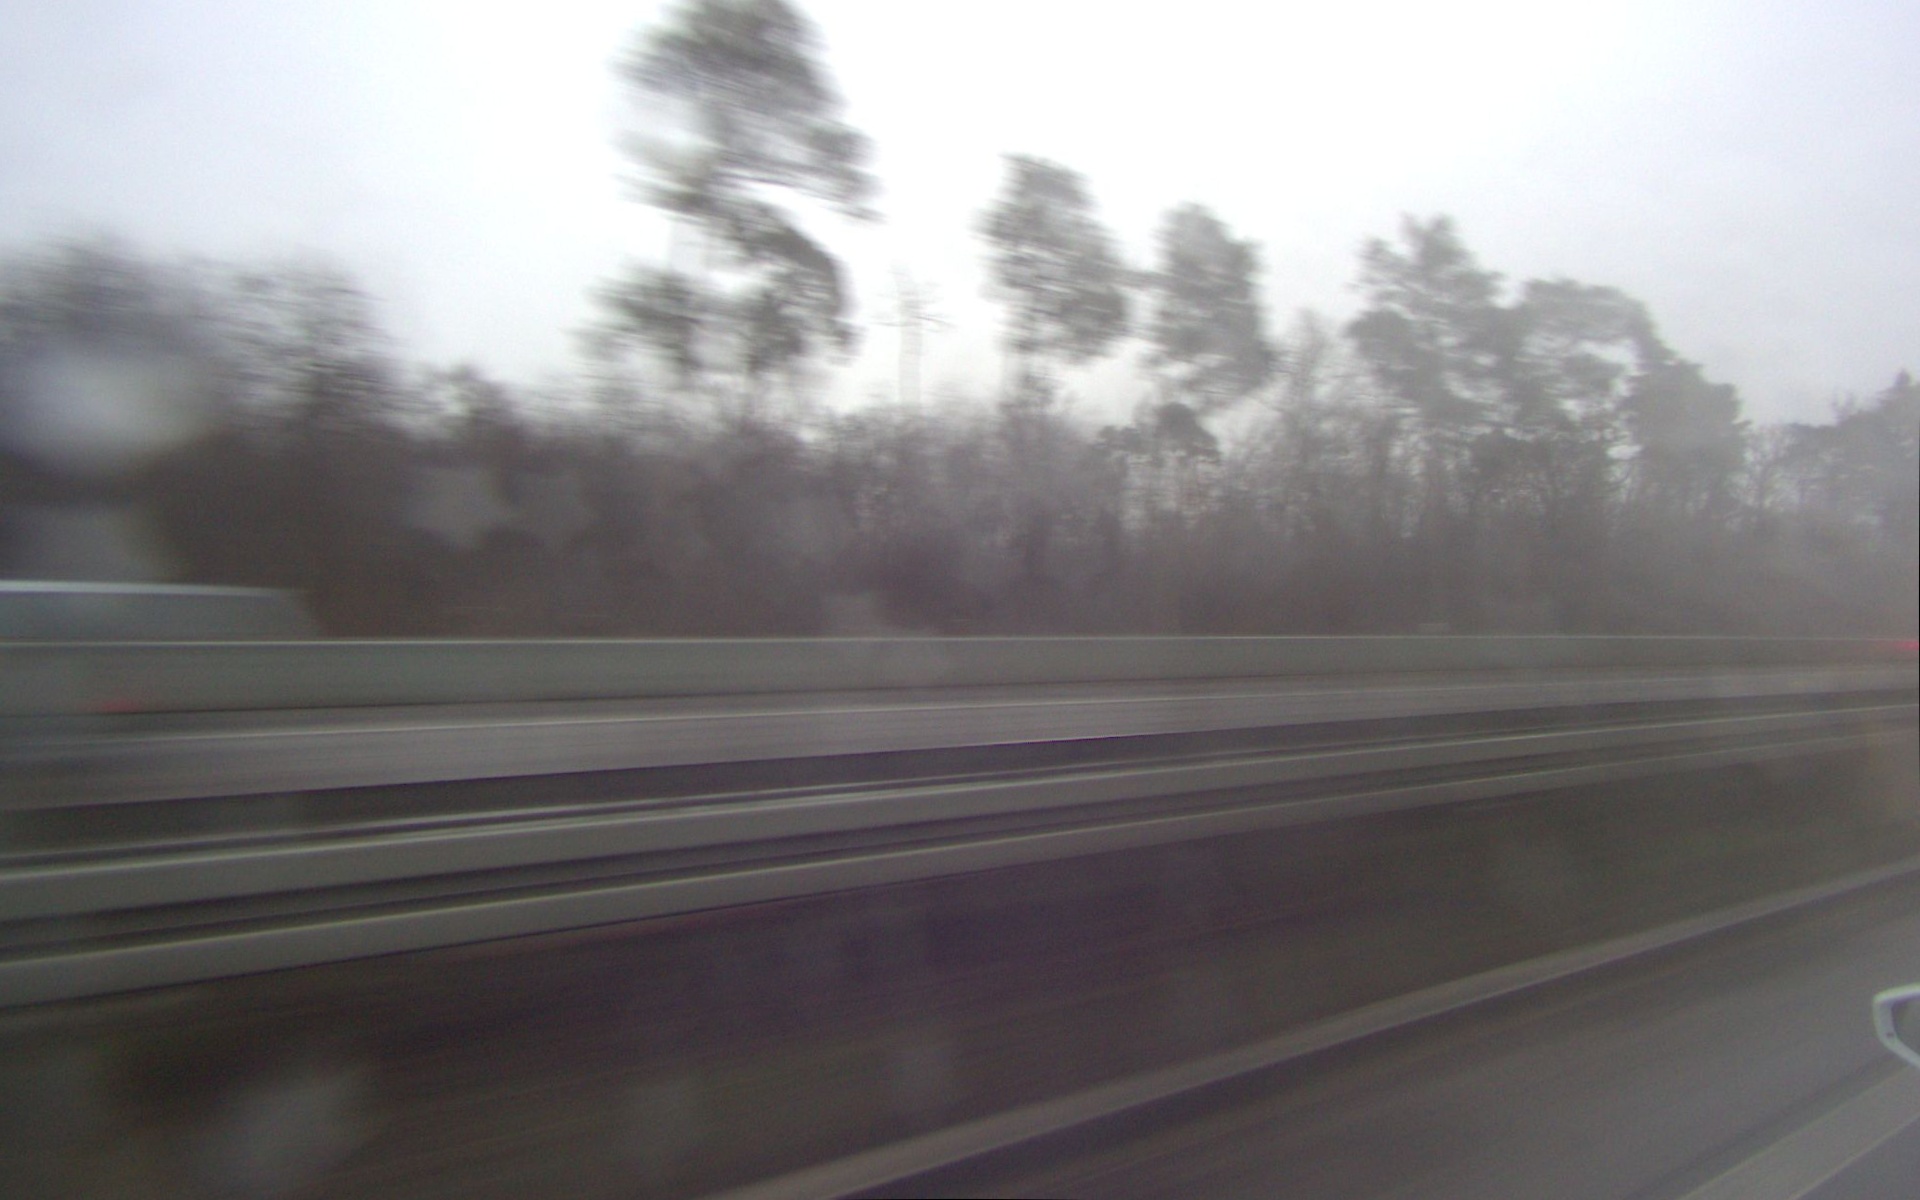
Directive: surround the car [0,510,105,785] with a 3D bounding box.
[{"bbox_3d":[-9.403,0.313,7.169,4.732,2.040,1.982,1,-1,-32],"label":"car"}]
